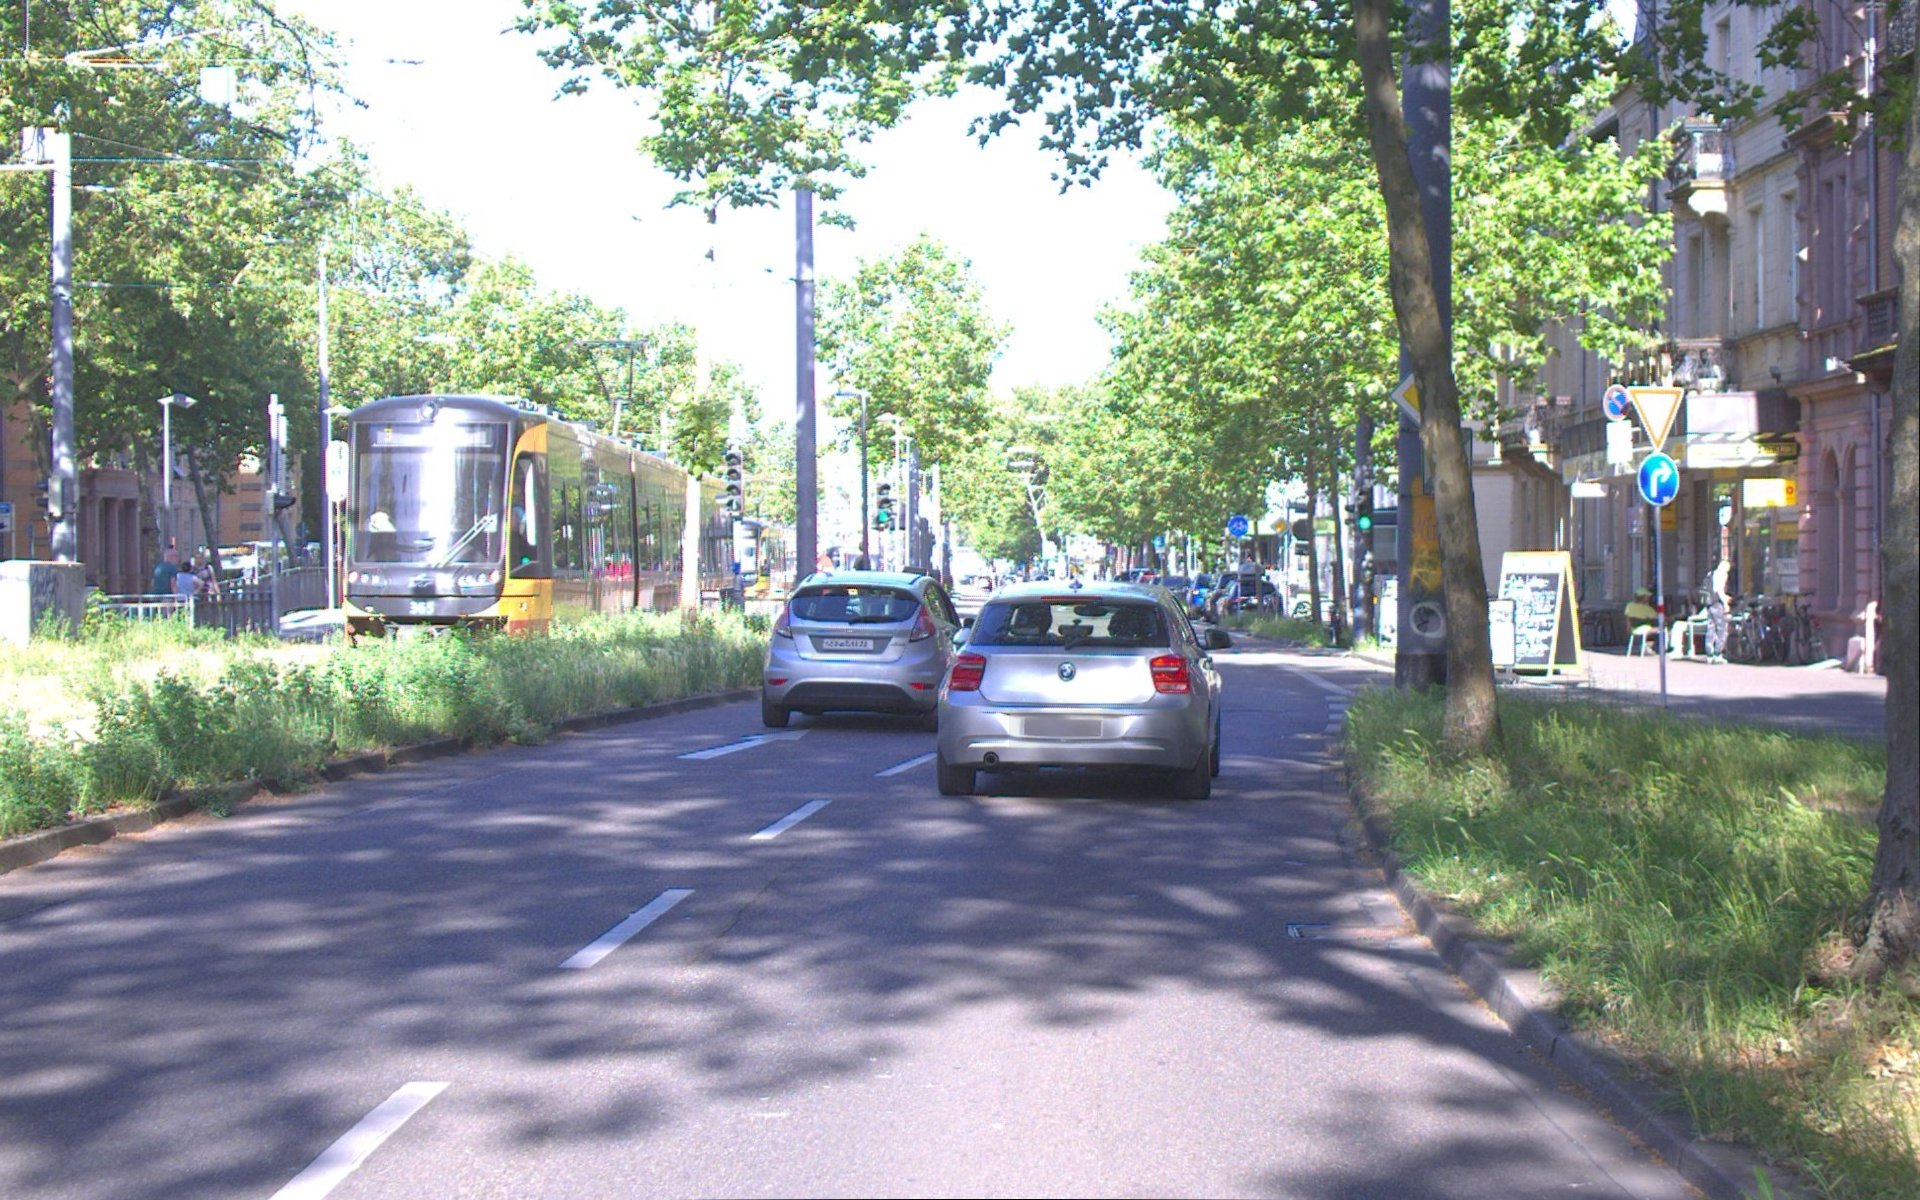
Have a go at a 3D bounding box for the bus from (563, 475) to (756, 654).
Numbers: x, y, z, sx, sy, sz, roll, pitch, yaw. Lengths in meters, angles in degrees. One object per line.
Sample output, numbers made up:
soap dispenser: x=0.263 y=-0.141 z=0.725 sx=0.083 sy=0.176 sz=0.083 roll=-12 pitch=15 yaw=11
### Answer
bus: x=-6.195 y=-0.763 z=72.632 sx=2.869 sy=3.432 sz=11.611 roll=1 pitch=1 yaw=1

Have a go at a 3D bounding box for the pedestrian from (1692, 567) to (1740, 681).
pedestrian: x=12.178 y=0.381 z=55.373 sx=0.469 sy=1.804 sz=0.772 roll=3 pitch=1 yaw=32

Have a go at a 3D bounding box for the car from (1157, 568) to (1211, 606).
car: x=9.407 y=-0.559 z=144.776 sx=1.993 sy=1.504 sz=4.597 roll=2 pitch=0 yaw=1

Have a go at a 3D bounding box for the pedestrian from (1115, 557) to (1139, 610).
pedestrian: x=6.472 y=-0.647 z=133.239 sx=0.838 sy=2.007 sz=0.648 roll=2 pitch=1 yaw=8

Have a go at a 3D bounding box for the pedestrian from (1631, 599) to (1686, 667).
pedestrian: x=12.205 y=0.570 z=60.111 sx=0.771 sy=1.157 sz=0.469 roll=1 pitch=1 yaw=-24

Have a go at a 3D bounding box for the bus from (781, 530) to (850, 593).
bus: x=-8.704 y=-2.445 z=210.069 sx=2.869 sy=3.616 sz=24.603 roll=0 pitch=1 yaw=1

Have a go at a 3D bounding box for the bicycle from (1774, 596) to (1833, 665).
bicycle: x=12.858 y=0.455 z=52.447 sx=0.443 sy=0.990 sz=1.689 roll=2 pitch=1 yaw=0

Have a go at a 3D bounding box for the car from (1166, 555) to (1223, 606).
car: x=8.063 y=-0.693 z=118.573 sx=1.692 sy=1.652 sz=4.039 roll=0 pitch=2 yaw=0

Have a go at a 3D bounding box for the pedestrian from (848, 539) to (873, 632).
pedestrian: x=-2.051 y=-0.297 z=70.790 sx=0.450 sy=1.896 sz=0.585 roll=1 pitch=1 yaw=-7

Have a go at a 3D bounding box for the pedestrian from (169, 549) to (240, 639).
pedestrian: x=-13.868 y=-0.102 z=63.153 sx=1.176 sy=1.638 sz=0.893 roll=0 pitch=0 yaw=-6

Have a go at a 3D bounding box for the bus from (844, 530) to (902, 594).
bus: x=-5.160 y=-2.358 z=206.904 sx=2.750 sy=3.613 sz=18.847 roll=0 pitch=1 yaw=1

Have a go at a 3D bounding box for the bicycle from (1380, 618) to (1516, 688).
bicycle: x=7.530 y=0.817 z=53.060 sx=2.003 sy=0.990 sz=0.444 roll=2 pitch=1 yaw=-1

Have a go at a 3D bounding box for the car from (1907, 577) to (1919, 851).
car: x=5.860 y=0.666 z=15.814 sx=1.700 sy=1.419 sz=4.517 roll=2 pitch=1 yaw=0

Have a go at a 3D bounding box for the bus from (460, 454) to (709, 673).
bus: x=-6.403 y=-0.659 z=60.622 sx=2.869 sy=3.432 sz=12.215 roll=1 pitch=1 yaw=1

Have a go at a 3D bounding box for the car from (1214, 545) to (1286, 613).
car: x=8.688 y=-0.664 z=103.214 sx=1.754 sy=1.958 sz=4.737 roll=1 pitch=1 yaw=0

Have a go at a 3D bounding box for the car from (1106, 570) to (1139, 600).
car: x=9.076 y=-0.842 z=192.332 sx=1.700 sy=1.529 sz=3.717 roll=2 pitch=1 yaw=1

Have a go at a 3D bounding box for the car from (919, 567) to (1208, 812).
car: x=0.641 y=0.544 z=23.532 sx=1.762 sy=1.427 sz=4.000 roll=2 pitch=1 yaw=0

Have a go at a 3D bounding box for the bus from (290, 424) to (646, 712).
bus: x=-6.529 y=-0.470 z=48.028 sx=2.869 sy=3.432 sz=13.217 roll=1 pitch=1 yaw=1

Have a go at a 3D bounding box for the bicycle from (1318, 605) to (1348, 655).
bicycle: x=7.702 y=0.621 z=71.011 sx=0.428 sy=0.967 sz=1.750 roll=2 pitch=1 yaw=1

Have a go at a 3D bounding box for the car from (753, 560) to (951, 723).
car: x=-0.965 y=0.346 z=32.380 sx=1.647 sy=1.358 sz=3.760 roll=2 pitch=1 yaw=1

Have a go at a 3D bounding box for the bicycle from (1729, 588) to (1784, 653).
bicycle: x=12.836 y=0.325 z=55.436 sx=0.443 sy=0.990 sz=1.689 roll=2 pitch=1 yaw=0

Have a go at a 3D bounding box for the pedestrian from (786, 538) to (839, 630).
pedestrian: x=-3.103 y=-0.340 z=72.442 sx=1.072 sy=1.909 sz=1.127 roll=1 pitch=1 yaw=-1

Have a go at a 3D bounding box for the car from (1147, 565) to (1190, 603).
car: x=9.096 y=-0.699 z=150.143 sx=1.669 sy=1.546 sz=4.000 roll=2 pitch=1 yaw=1

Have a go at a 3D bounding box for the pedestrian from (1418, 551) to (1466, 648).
pedestrian: x=10.263 y=-0.020 z=73.162 sx=0.882 sy=2.007 sz=0.856 roll=2 pitch=1 yaw=4
